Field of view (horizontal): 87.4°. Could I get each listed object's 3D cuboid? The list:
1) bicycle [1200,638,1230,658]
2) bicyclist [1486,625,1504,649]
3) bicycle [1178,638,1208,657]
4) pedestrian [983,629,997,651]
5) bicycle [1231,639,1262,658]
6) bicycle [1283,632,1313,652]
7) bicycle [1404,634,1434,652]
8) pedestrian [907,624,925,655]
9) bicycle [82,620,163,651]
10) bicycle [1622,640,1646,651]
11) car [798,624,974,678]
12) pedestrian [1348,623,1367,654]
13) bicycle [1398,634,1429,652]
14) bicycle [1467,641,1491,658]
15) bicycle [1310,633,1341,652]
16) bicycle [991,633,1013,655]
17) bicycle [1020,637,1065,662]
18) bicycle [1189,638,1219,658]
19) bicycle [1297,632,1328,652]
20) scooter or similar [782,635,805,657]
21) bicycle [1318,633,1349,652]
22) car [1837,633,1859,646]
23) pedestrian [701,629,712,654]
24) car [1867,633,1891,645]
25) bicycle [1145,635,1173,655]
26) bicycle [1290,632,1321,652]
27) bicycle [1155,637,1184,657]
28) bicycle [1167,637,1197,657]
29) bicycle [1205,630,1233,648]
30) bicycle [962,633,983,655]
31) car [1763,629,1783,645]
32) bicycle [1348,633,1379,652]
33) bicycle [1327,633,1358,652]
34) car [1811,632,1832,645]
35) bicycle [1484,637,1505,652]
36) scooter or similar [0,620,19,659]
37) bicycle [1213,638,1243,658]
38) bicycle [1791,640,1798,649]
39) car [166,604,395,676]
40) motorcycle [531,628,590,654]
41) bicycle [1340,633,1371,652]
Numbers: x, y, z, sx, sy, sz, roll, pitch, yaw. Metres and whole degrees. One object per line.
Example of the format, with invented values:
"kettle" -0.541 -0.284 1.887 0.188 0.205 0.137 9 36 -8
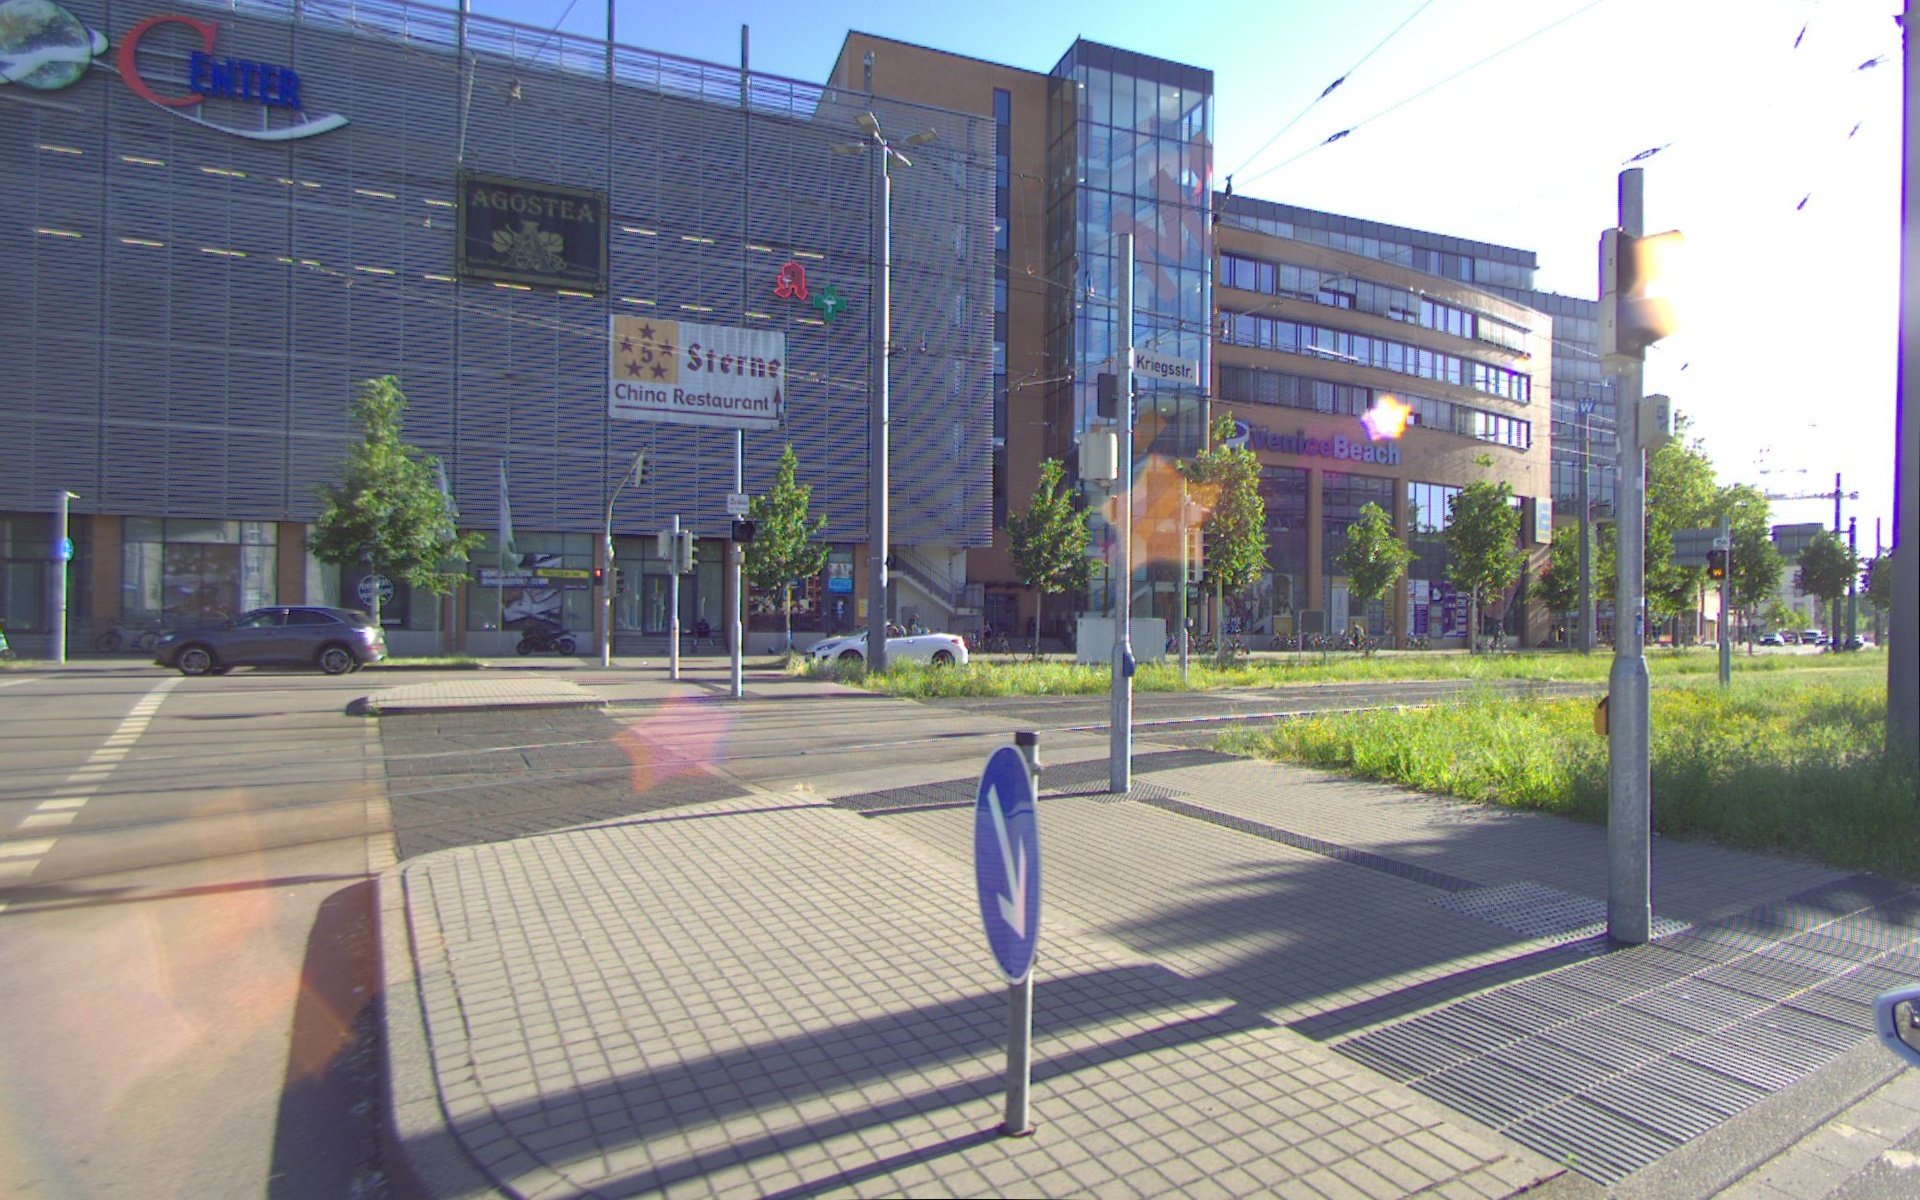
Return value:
"bicycle" 12.811 2.395 50.475 0.556 0.938 1.763 1 -1 -20
"bicyclist" 33.199 2.302 62.341 1.008 1.484 0.672 2 -1 -40
"bicycle" 11.566 2.354 49.919 0.556 0.938 1.763 1 -1 -20
"pedestrian" 1.427 1.927 48.514 0.443 1.068 0.626 1 -1 -24
"bicycle" 14.569 2.451 51.152 0.556 0.938 1.763 1 -1 -20
"bicycle" 18.746 2.323 55.740 0.485 1.063 1.758 1 -1 -29
"bicycle" 28.255 2.653 61.876 0.485 1.063 1.758 1 -1 -29
"pedestrian" -1.867 1.697 42.920 0.621 1.306 0.446 1 -1 -25
"bicycle" -27.596 1.164 33.116 1.938 0.993 0.583 1 -1 -20
"bicycle" 58.657 3.957 87.430 1.738 0.964 0.541 0 -1 27
"car" -1.964 1.345 26.836 4.345 1.345 1.801 1 -2 -25
"pedestrian" 22.205 2.154 56.057 0.668 1.691 0.741 1 -1 -31
"bicycle" 27.761 2.637 61.533 0.485 1.063 1.758 1 -1 -29
"bicycle" 27.631 2.609 53.448 1.755 0.880 0.459 2 -1 -37
"bicycle" 20.641 2.385 56.775 0.485 1.063 1.758 1 -1 -29
"bicycle" 1.880 1.965 45.058 0.455 0.938 1.394 1 -1 -20
"bicycle" 3.131 1.894 38.280 1.747 0.935 0.384 1 -1 -25
"bicycle" 12.194 2.375 50.213 0.556 0.938 1.763 1 -1 -20
"bicycle" 19.744 2.356 56.314 0.485 1.063 1.758 1 -1 -29
"scooter or similar" -6.824 1.883 41.280 0.888 0.905 0.289 1 -1 -21
"bicycle" 21.250 2.405 57.127 0.485 1.063 1.758 1 -1 -29
"car" 112.725 5.031 127.562 1.722 1.524 3.867 0 -1 36
"pedestrian" -10.519 1.720 41.685 0.417 1.052 0.565 1 -1 -14
"car" 113.781 4.823 124.345 1.722 1.524 3.867 0 -1 36
"bicycle" 9.728 2.208 49.140 0.483 0.938 1.763 1 -1 -20
"bicycle" 19.249 2.339 56.013 0.485 1.063 1.758 1 -1 -29
"bicycle" 10.303 2.314 49.421 0.556 0.938 1.763 1 -1 -20
"bicycle" 10.960 2.335 49.650 0.556 0.938 1.763 1 -1 -20
"bicycle" 14.025 2.124 54.444 0.556 0.938 1.763 1 -1 -20
"bicycle" 0.564 1.922 44.469 0.455 0.938 1.394 1 -1 -20
"car" 106.320 4.792 131.360 1.970 2.040 3.982 0 -2 40
"bicycle" 23.477 2.479 58.480 0.485 1.063 1.758 1 -1 -29
"bicycle" 21.848 2.425 57.440 0.485 1.063 1.758 1 -1 -29
"car" 111.401 5.022 129.940 1.970 1.617 4.716 -2 -2 39
"bicycle" 33.174 2.762 62.306 1.873 0.923 0.494 2 -1 -40
"scooter or similar" -26.628 1.078 27.366 1.348 1.056 0.432 2 0 -33
"bicycle" 13.519 2.417 50.705 0.556 0.938 1.763 1 -1 -20
"bicycle" 105.741 5.578 127.237 0.642 1.099 2.912 0 -1 41
"car" -16.096 0.963 24.079 4.233 1.596 1.802 1 -2 -24
"motorcycle" -14.622 1.500 36.785 1.995 0.932 0.426 1 -1 -22
"bicycle" 22.891 2.460 58.141 0.485 1.063 1.758 1 -1 -29
